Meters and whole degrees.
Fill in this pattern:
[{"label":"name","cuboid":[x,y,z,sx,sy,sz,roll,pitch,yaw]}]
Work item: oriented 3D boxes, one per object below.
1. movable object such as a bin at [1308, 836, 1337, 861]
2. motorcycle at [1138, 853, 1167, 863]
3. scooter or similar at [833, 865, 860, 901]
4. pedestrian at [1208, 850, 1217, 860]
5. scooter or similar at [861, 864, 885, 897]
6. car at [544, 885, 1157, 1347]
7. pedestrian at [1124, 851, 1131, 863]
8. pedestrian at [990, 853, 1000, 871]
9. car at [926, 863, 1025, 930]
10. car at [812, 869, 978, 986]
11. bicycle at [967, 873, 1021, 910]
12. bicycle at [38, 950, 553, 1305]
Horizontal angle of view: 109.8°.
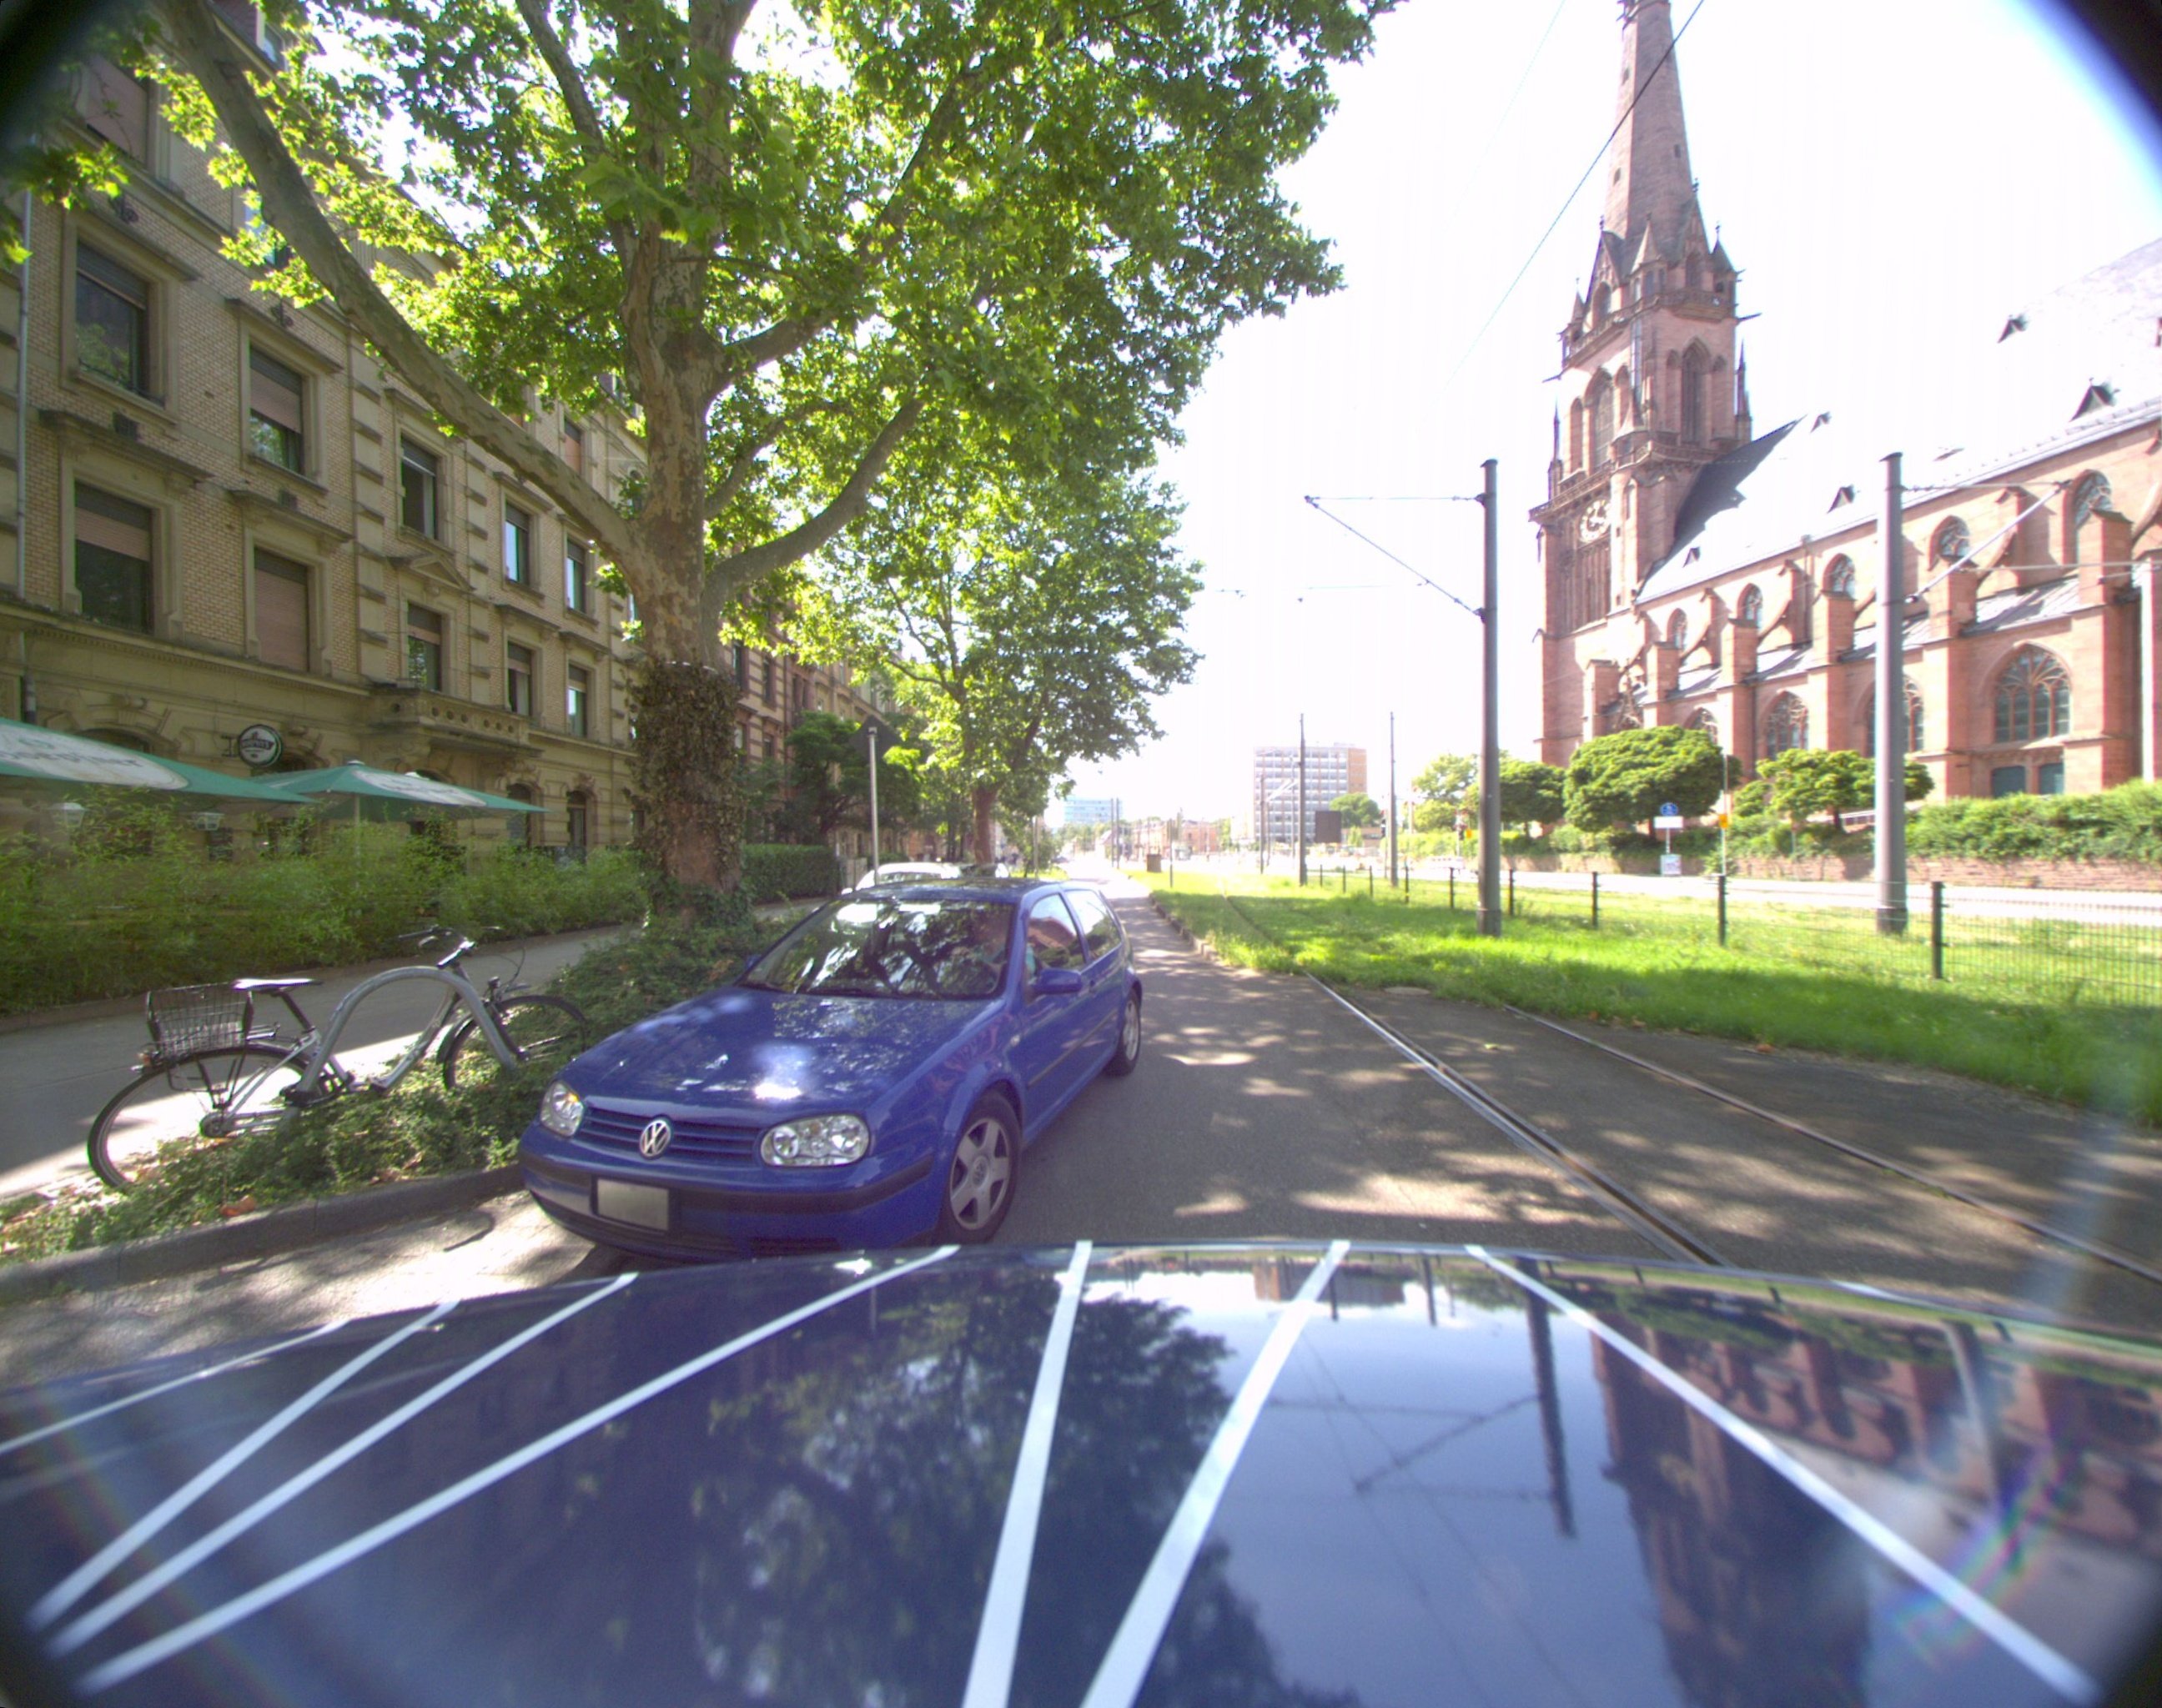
[{"label":"movable object such as a bin","cuboid":[37.671,-0.797,118.438,3.341,3.859,2.932,-1,1,-33]},{"label":"motorcycle","cuboid":[9.963,0.541,105.781,3.932,1.331,1.245,-1,0,6]},{"label":"scooter or similar","cuboid":[-8.464,1.030,27.453,0.583,1.240,1.145,0,0,1]},{"label":"pedestrian","cuboid":[24.460,0.191,141.659,1.426,1.796,1.422,-1,0,-3]},{"label":"scooter or similar","cuboid":[-8.266,1.037,30.174,0.583,1.275,1.145,0,0,3]},{"label":"car","cuboid":[-0.736,0.994,4.804,1.884,1.401,4.097,-1,0,13]},{"label":"pedestrian","cuboid":[6.275,0.406,102.783,0.850,1.644,1.128,-1,1,1]},{"label":"pedestrian","cuboid":[-8.453,0.759,74.891,0.797,1.708,0.967,-1,1,0]},{"label":"car","cuboid":[-2.614,1.010,19.929,1.838,1.499,4.643,0,0,1]},{"label":"car","cuboid":[-2.854,1.047,12.688,1.838,1.499,4.490,0,0,-3]},{"label":"bicycle","cuboid":[-2.714,1.159,23.769,1.641,1.082,0.470,-1,1,-32]},{"label":"bicycle","cuboid":[-3.514,1.109,3.593,0.421,1.099,1.619,0,0,31]}]
